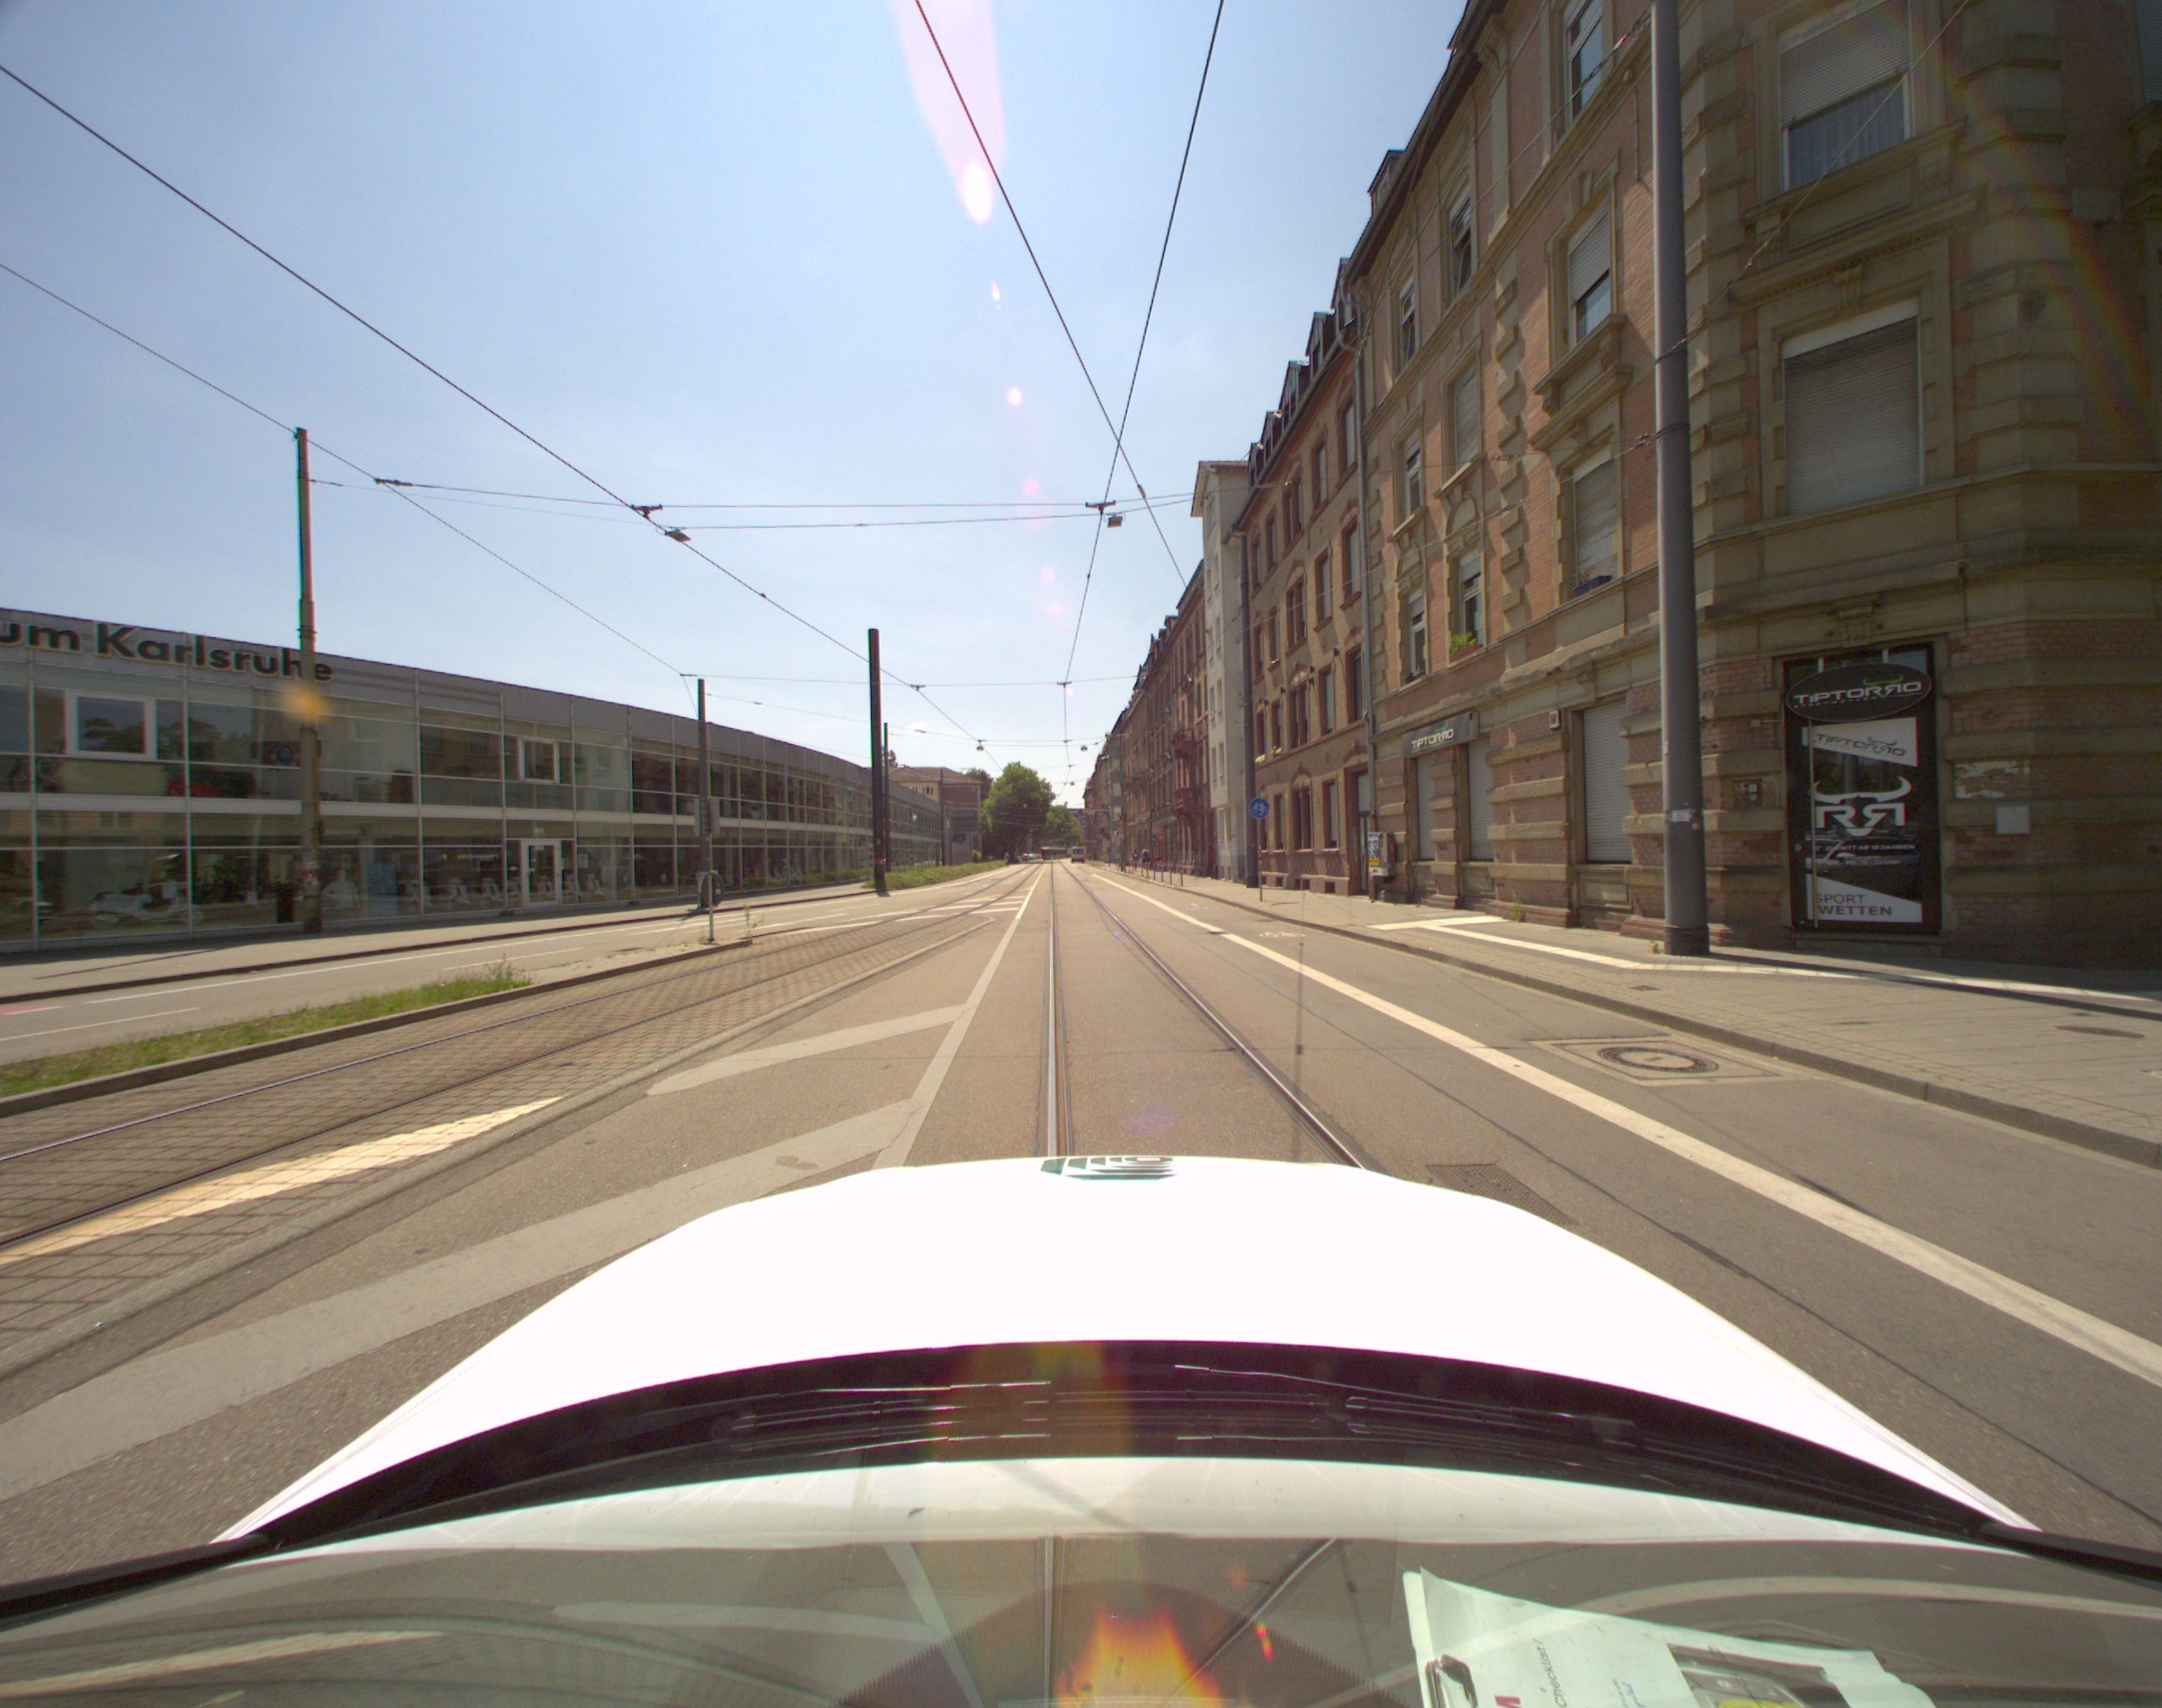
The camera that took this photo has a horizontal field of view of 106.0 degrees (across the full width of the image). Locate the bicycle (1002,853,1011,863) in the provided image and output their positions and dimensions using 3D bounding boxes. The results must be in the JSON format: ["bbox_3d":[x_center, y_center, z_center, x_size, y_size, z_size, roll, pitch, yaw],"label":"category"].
[{"bbox_3d":[-9.276,0.462,101.659,0.694,1.144,2.499,-2,0,5],"label":"bicycle"}]

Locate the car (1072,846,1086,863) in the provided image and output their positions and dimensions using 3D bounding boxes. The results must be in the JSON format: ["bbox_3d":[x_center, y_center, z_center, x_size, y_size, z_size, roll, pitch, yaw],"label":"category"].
[{"bbox_3d":[-0.386,0.080,126.970,2.061,2.501,5.451,0,0,-1],"label":"car"}]

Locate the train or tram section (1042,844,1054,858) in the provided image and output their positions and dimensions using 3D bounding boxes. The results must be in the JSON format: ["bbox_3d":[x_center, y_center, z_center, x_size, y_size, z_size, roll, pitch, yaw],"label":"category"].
[{"bbox_3d":[-8.530,-0.802,211.761,2.953,3.580,13.410,-1,0,-2],"label":"train or tram section"}]

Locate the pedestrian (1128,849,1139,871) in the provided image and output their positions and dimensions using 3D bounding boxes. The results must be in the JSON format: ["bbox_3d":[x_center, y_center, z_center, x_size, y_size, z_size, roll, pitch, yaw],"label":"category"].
[{"bbox_3d":[4.197,0.451,65.149,0.718,1.720,0.643,-2,0,-1],"label":"pedestrian"}]

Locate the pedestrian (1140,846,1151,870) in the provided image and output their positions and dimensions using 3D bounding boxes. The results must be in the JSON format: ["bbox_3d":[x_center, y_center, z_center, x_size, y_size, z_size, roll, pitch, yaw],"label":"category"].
[{"bbox_3d":[5.171,0.350,65.099,0.700,1.848,0.643,-5,0,-1],"label":"pedestrian"}]

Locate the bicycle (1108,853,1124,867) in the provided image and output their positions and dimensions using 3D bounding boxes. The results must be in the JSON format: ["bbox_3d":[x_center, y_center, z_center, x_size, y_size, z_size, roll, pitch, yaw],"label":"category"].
[{"bbox_3d":[3.112,0.540,72.878,0.494,1.130,2.256,-2,0,26],"label":"bicycle"}]

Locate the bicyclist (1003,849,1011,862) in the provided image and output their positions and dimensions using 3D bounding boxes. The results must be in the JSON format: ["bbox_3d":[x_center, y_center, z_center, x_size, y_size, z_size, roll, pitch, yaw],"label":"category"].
[{"bbox_3d":[-9.254,0.208,101.750,0.694,1.548,0.981,-2,0,4],"label":"bicyclist"}]

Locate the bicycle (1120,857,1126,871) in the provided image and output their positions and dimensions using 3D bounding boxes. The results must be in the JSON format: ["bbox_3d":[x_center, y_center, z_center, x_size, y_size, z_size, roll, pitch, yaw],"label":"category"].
[{"bbox_3d":[3.373,0.772,65.234,0.446,1.097,2.425,-2,0,4],"label":"bicycle"}]
